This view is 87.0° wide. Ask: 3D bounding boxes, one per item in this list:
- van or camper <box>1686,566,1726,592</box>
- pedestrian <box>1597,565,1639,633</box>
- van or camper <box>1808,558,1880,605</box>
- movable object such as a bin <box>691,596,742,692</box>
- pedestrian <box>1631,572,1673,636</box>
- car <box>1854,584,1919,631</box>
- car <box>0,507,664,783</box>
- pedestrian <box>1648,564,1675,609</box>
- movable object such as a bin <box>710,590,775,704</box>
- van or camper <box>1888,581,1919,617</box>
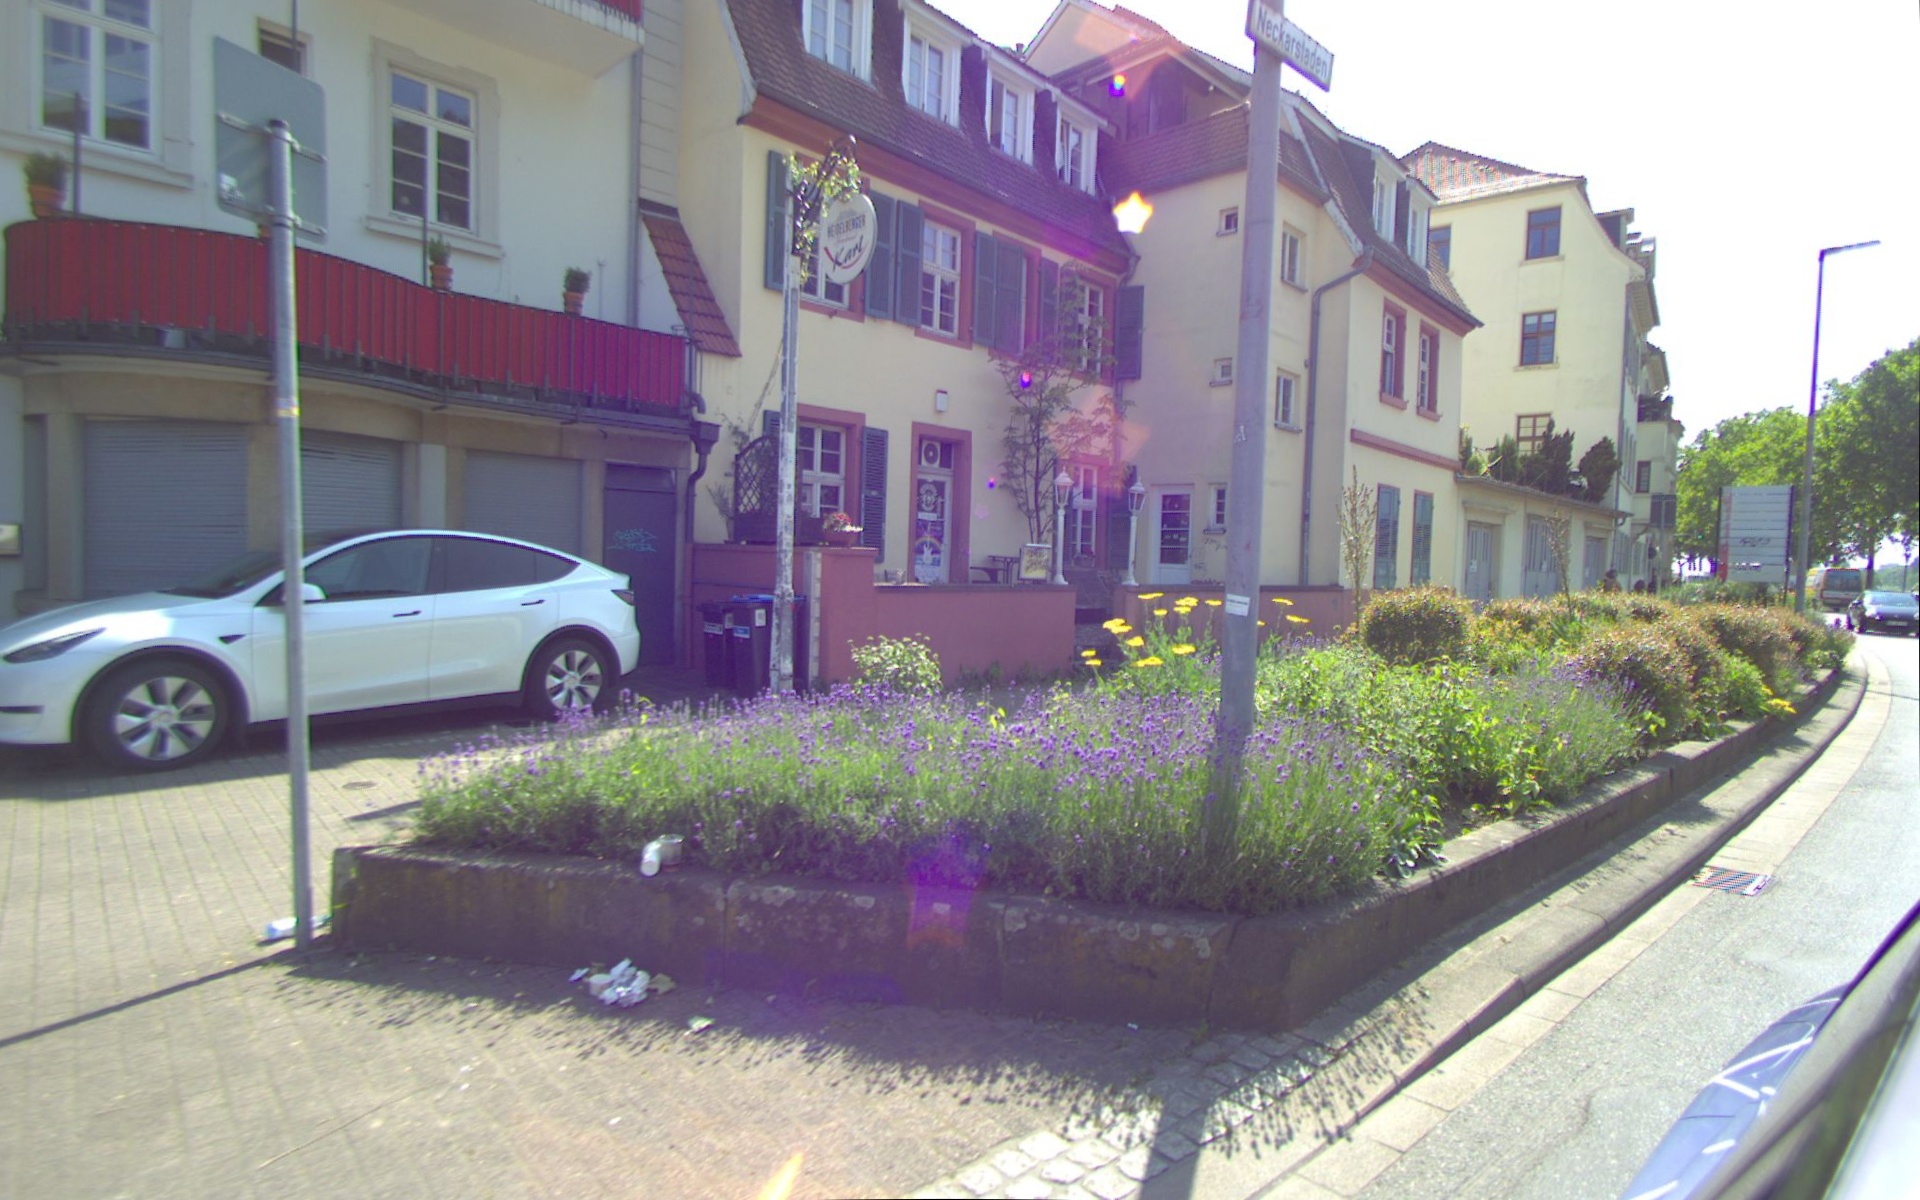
[{"bbox_3d":[71.027,-2.076,96.444,2.420,2.312,6.137,3,3,31],"label":"van or camper"},{"bbox_3d":[17.407,-0.036,26.773,0.737,1.719,0.920,5,3,40],"label":"pedestrian"},{"bbox_3d":[52.304,-1.136,60.030,2.079,2.588,7.010,3,3,32],"label":"van or camper"},{"bbox_3d":[-2.579,0.449,10.699,0.315,0.955,0.496,0,3,-41],"label":"movable object such as a bin"},{"bbox_3d":[17.928,0.090,26.218,0.761,1.614,0.686,3,3,40],"label":"pedestrian"},{"bbox_3d":[31.501,0.234,34.057,1.868,1.441,4.677,3,2,39],"label":"car"},{"bbox_3d":[-4.912,0.176,8.107,1.875,1.596,4.662,3,3,38],"label":"car"},{"bbox_3d":[28.560,-0.548,41.208,0.760,1.733,0.687,7,5,35],"label":"pedestrian"},{"bbox_3d":[-2.204,0.460,10.236,0.358,1.080,0.642,0,3,-41],"label":"movable object such as a bin"},{"bbox_3d":[42.685,-0.006,44.492,1.988,1.472,4.626,6,5,34],"label":"van or camper"}]
